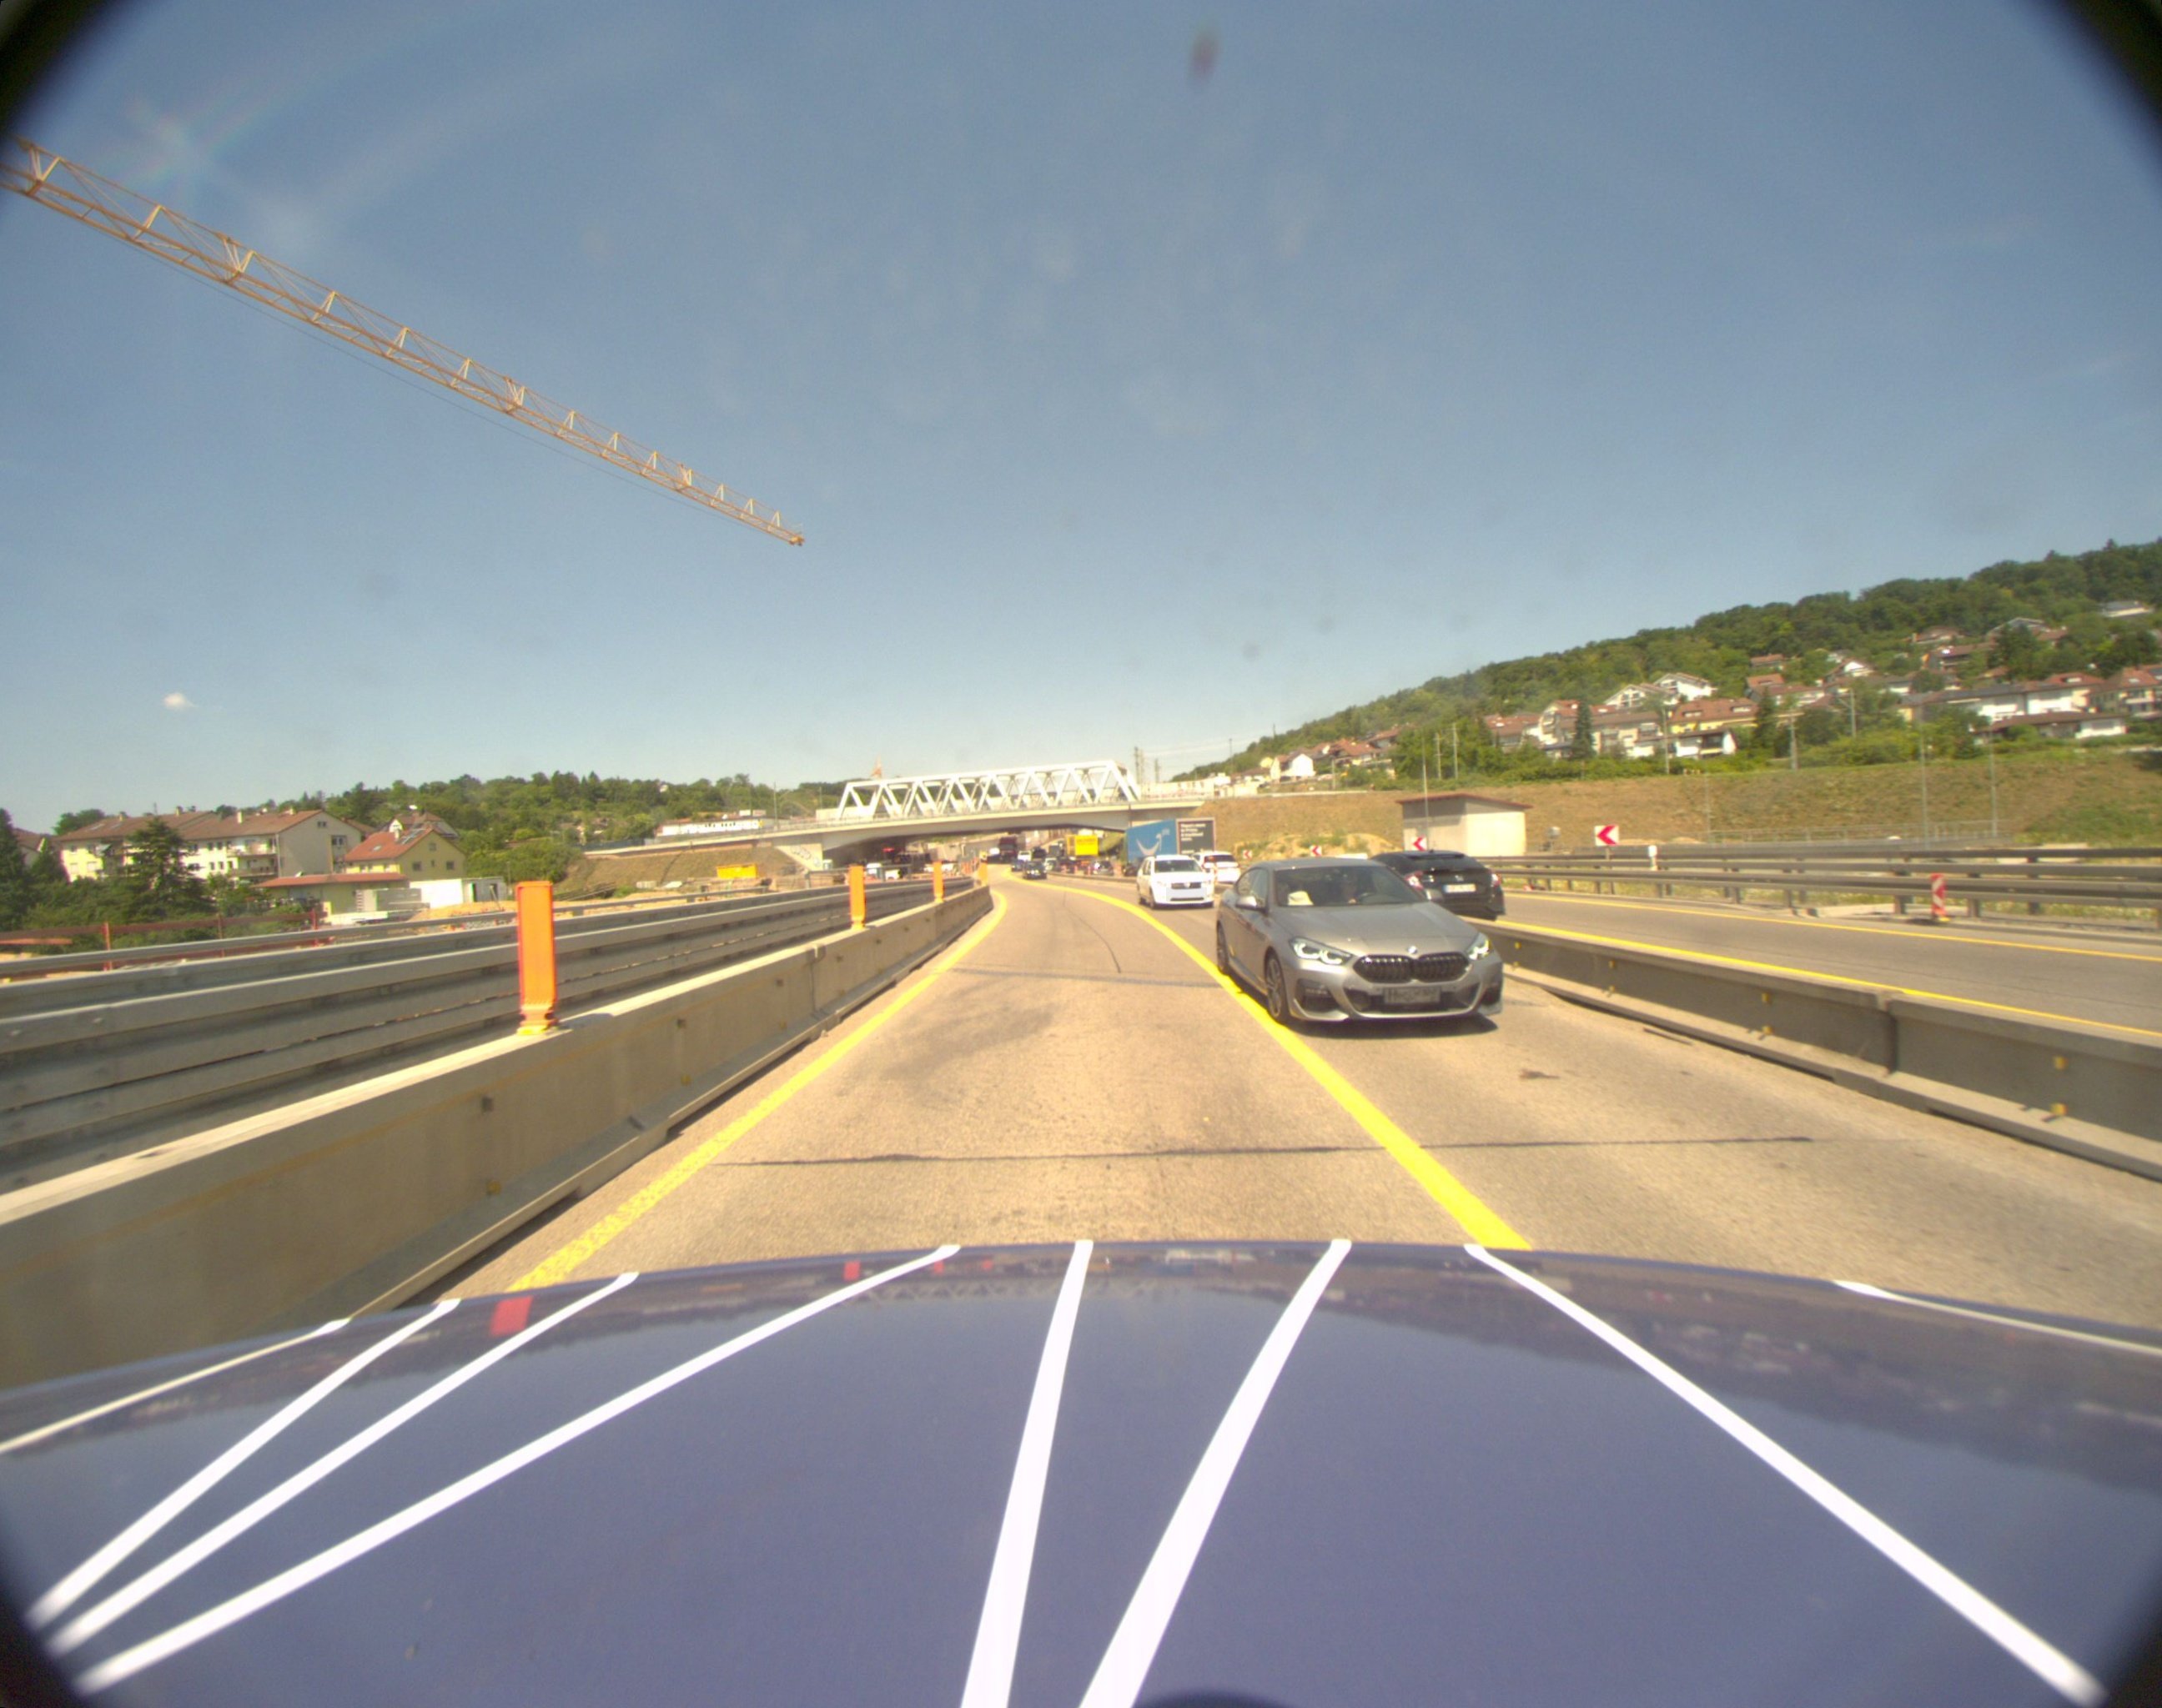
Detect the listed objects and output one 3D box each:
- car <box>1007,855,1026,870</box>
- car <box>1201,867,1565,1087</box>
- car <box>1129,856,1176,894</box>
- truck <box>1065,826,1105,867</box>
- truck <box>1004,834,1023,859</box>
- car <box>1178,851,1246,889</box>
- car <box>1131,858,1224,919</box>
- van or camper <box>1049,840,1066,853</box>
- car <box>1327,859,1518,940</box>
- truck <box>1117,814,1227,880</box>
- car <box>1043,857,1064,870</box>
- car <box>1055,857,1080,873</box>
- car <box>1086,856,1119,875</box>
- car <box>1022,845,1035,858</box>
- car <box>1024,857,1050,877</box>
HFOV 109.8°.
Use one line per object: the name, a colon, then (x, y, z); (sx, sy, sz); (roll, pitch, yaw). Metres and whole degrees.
car: (-7.669, 1.004, 89.676); (1.793, 1.578, 3.997); (-4, 0, -9)
car: (2.524, 0.914, 7.777); (1.856, 1.443, 4.742); (-2, 0, 1)
car: (4.205, 1.199, 45.297); (1.999, 2.002, 3.998); (-2, 1, -5)
truck: (0.331, -0.807, 90.327); (3.175, 4.531, 12.077); (-1, 0, -7)
truck: (-10.608, -1.164, 118.610); (2.704, 3.704, 8.503); (-1, 0, -6)
car: (5.634, 0.663, 33.253); (2.016, 1.516, 4.193); (-2, 0, -3)
car: (2.699, 0.919, 22.404); (1.824, 1.521, 4.704); (-2, 0, -4)
van or camper: (-3.754, -1.212, 122.179); (2.331, 2.068, 5.426); (-2, 1, 1)
car: (6.393, 0.767, 14.899); (1.864, 1.314, 4.689); (-1, 0, 3)
truck: (6.137, -0.436, 56.139); (3.270, 4.111, 17.318); (-1, 0, -10)
car: (-3.125, 1.024, 85.174); (1.907, 1.453, 4.191); (-1, 0, -9)
car: (-1.392, 1.068, 74.576); (1.907, 1.453, 4.191); (-1, 0, -9)
car: (1.638, 0.866, 59.451); (1.907, 1.453, 4.191); (-1, 0, -7)
car: (-7.766, -0.324, 111.653); (1.792, 1.871, 3.998); (-1, 0, -5)
car: (-3.960, 1.122, 68.310); (1.864, 1.683, 4.094); (-2, 0, -10)
